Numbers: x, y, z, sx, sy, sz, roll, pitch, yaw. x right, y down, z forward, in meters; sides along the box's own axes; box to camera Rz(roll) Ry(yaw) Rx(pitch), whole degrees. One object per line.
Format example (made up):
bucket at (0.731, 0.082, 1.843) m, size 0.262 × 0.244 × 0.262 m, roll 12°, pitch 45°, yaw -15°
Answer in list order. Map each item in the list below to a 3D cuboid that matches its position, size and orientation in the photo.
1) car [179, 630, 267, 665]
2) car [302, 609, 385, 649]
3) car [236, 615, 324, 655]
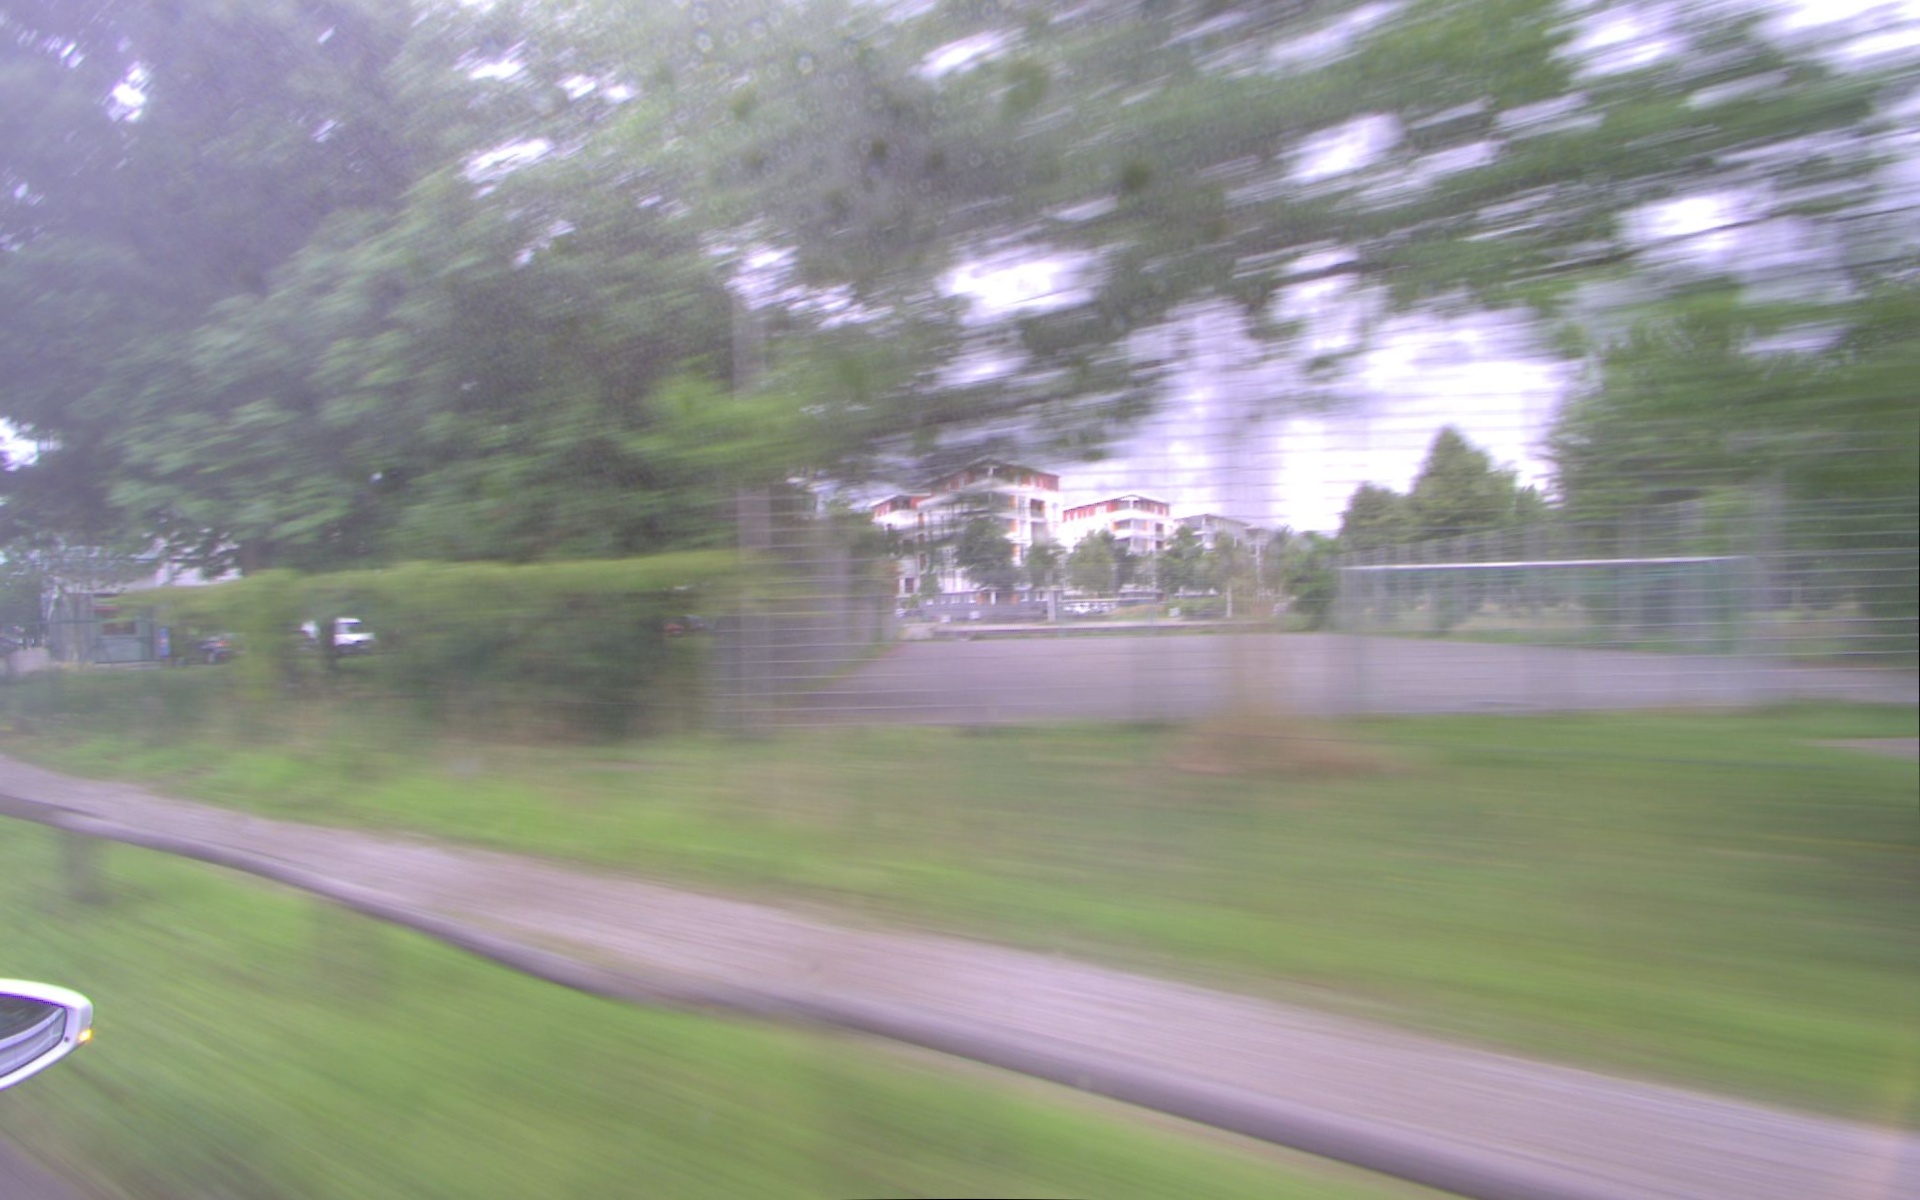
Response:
car at (-32.017, 2.049, 43.496) m, size 3.718 × 1.449 × 1.819 m, roll -1°, pitch -1°, yaw 32°
car at (-29.257, 1.373, 47.512) m, size 3.944 × 1.854 × 1.793 m, roll -1°, pitch 0°, yaw 33°
car at (-30.865, 1.598, 45.425) m, size 3.899 × 1.721 × 1.850 m, roll -1°, pitch 0°, yaw 32°
